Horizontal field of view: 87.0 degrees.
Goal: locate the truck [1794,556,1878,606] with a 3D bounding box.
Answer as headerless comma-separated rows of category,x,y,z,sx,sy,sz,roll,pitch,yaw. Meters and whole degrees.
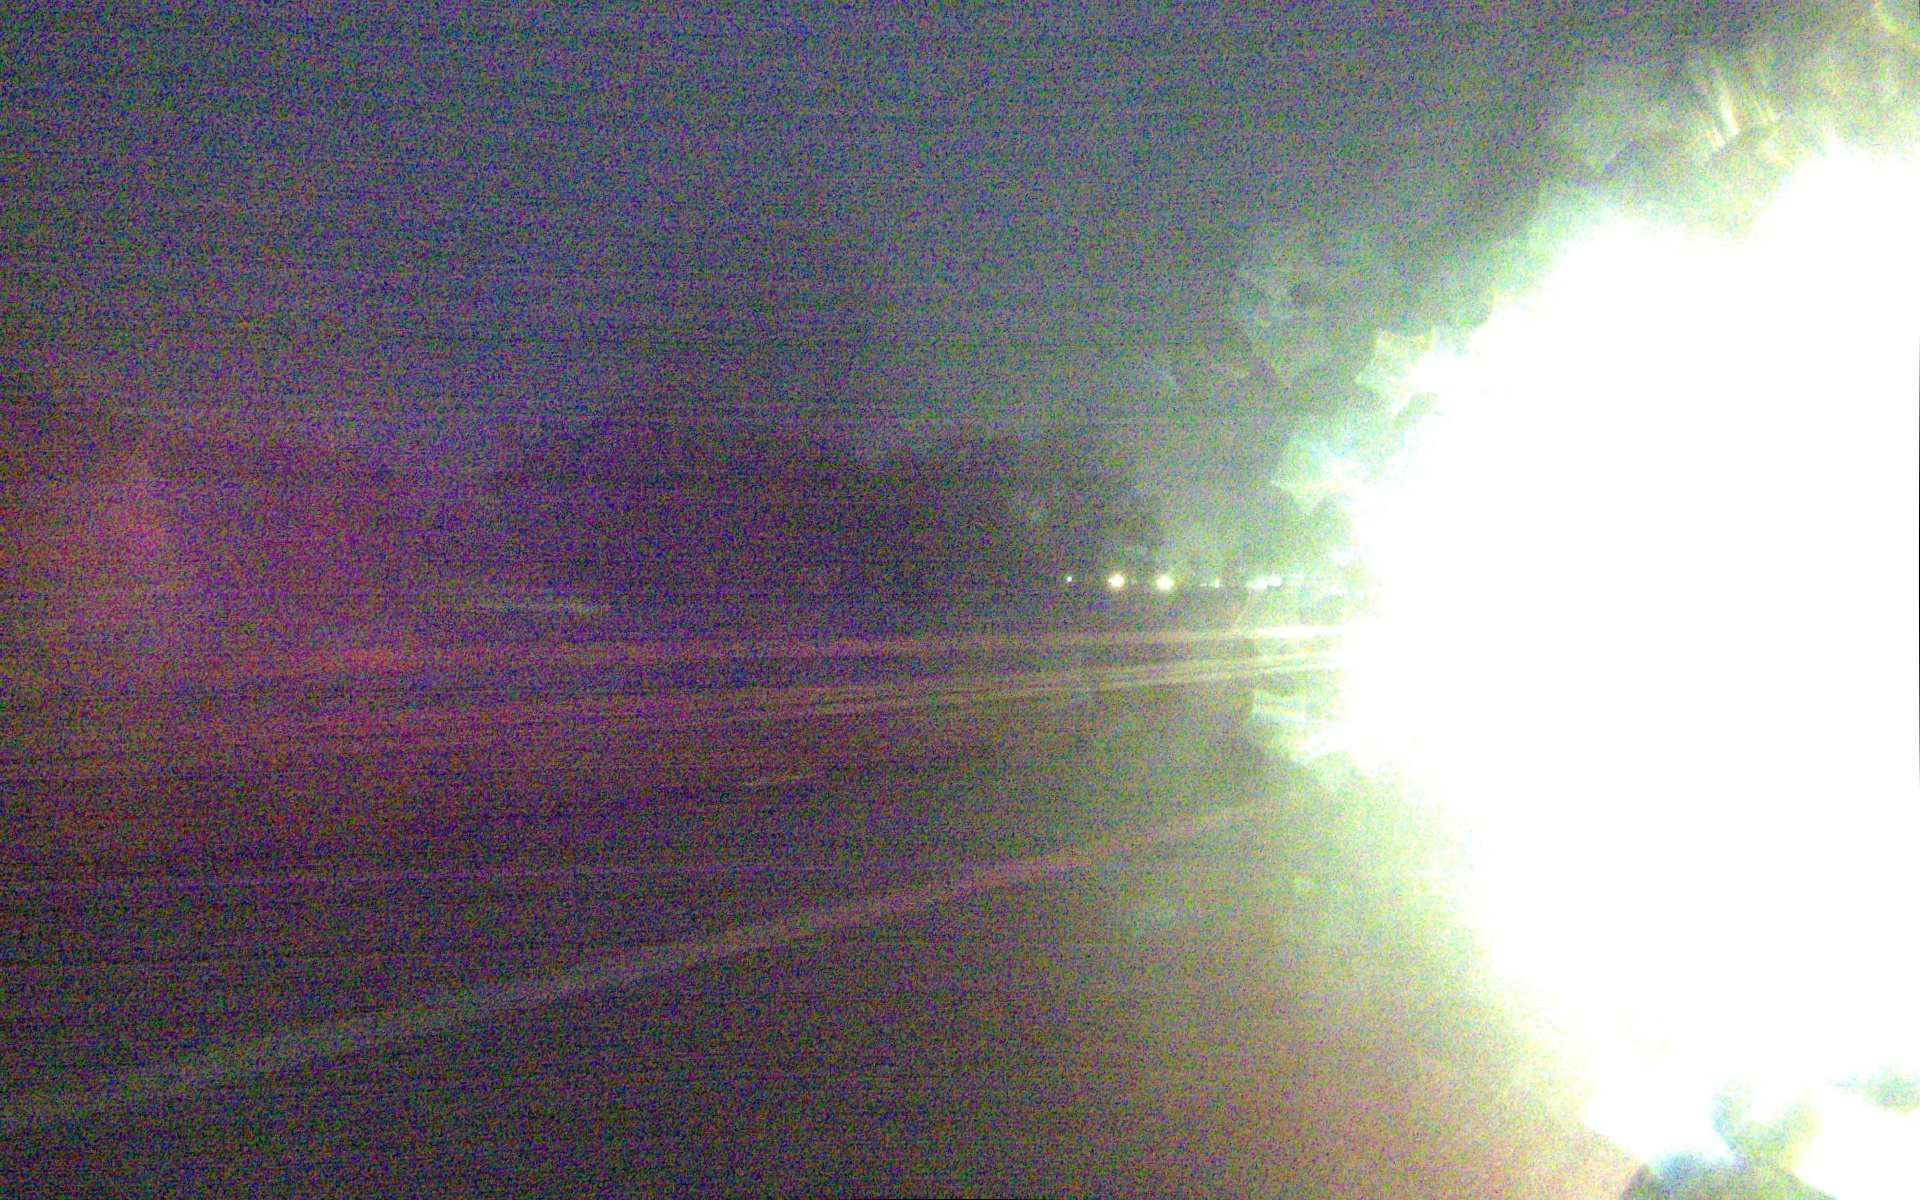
truck,80.052,-1.767,92.588,2.489,4.390,5.571,-1,1,-6

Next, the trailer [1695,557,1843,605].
trailer,79.305,-1.901,99.800,2.489,4.390,13.727,-1,1,-6

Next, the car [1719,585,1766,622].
car,38.015,0.126,49.152,1.733,1.705,4.063,0,1,39

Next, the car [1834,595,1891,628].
car,38.820,0.450,43.612,1.754,1.328,4.025,0,0,41
